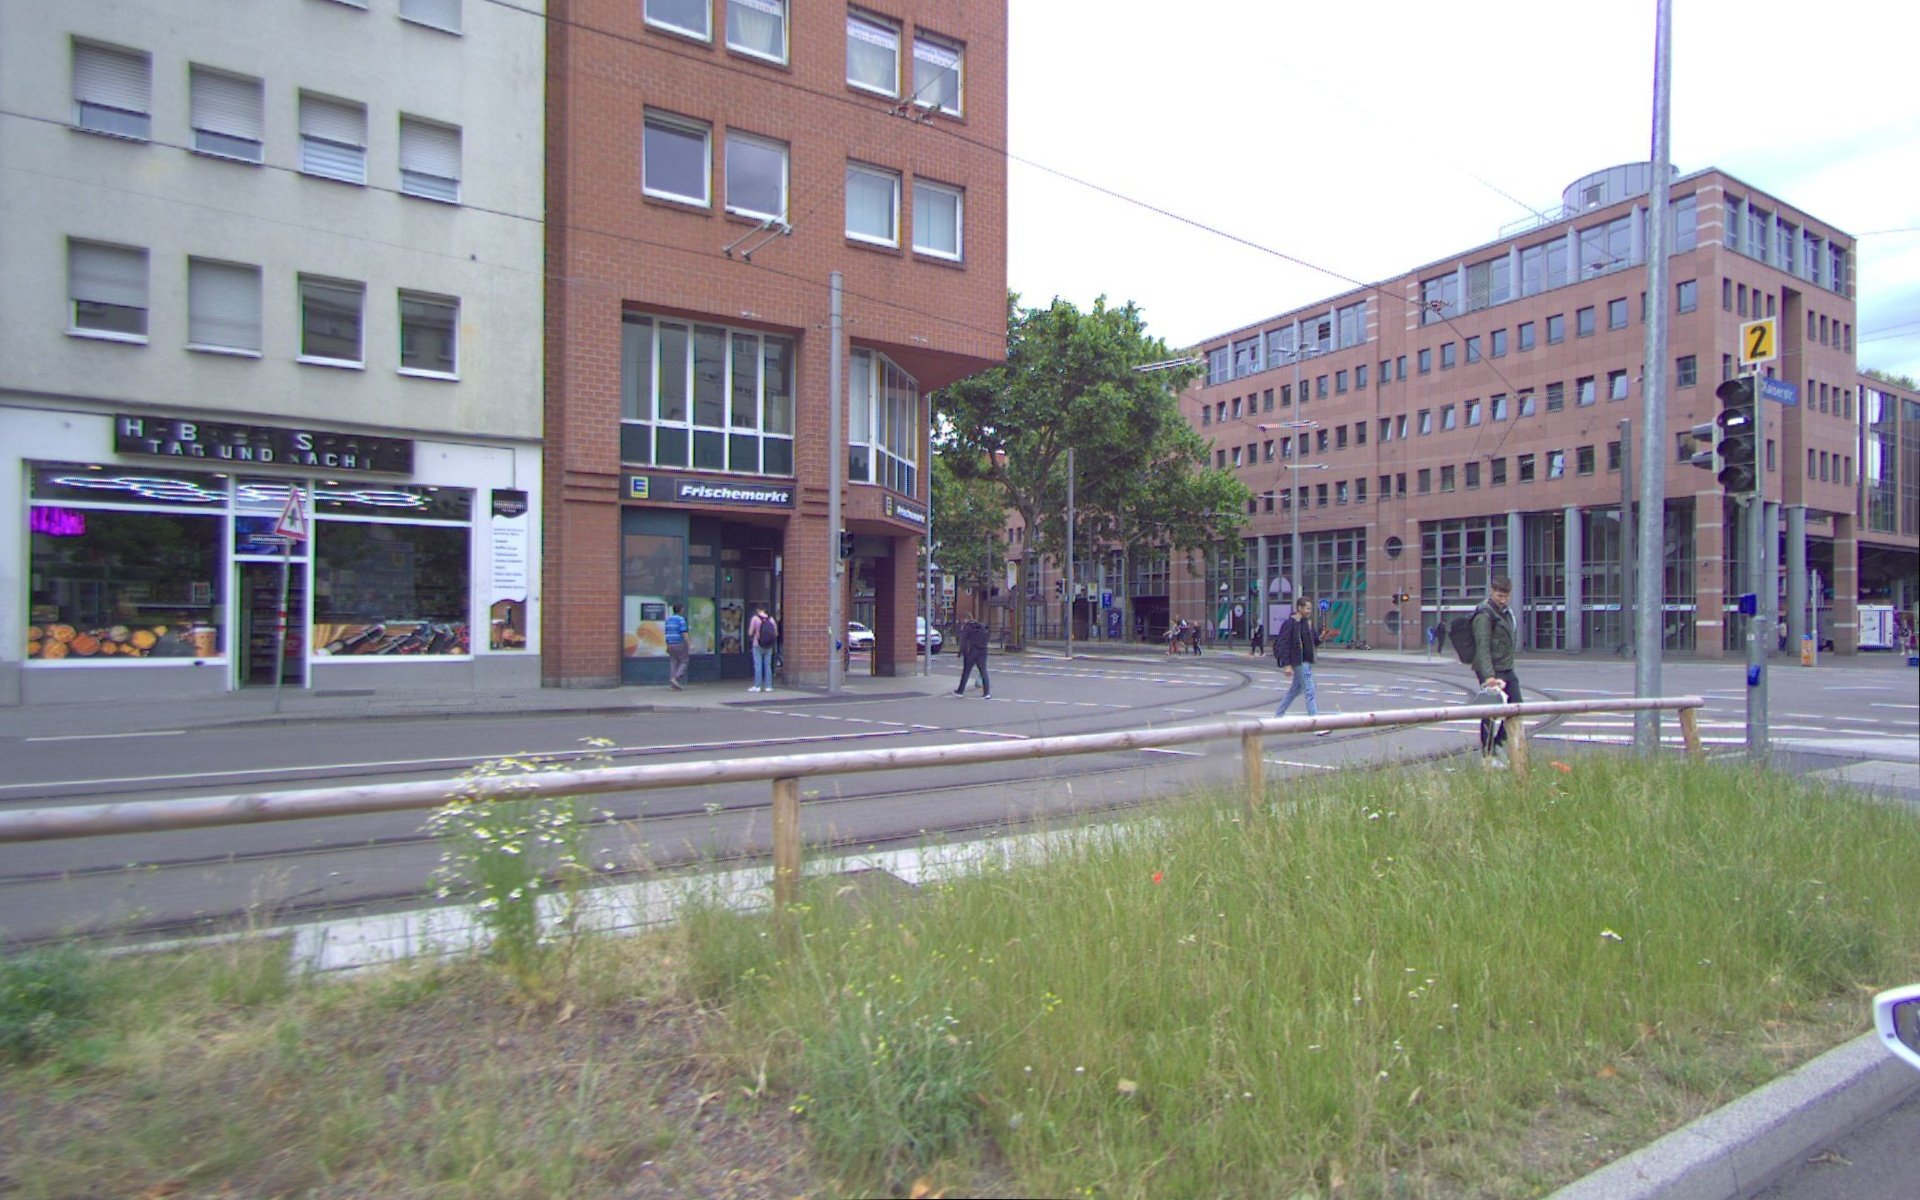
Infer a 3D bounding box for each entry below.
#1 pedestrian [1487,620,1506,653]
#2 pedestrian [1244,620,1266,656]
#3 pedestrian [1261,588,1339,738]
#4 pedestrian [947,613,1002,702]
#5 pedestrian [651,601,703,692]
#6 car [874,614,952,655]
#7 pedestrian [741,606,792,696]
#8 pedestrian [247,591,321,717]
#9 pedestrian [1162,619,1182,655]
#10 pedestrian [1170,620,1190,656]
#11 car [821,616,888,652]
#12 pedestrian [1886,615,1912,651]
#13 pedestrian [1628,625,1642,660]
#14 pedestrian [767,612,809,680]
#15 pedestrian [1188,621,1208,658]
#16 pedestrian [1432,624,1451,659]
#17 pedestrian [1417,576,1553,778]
[{"bbox_3d":[25.921,1.767,48.533,0.731,1.581,0.573,1,-1,34],"label":"pedestrian"},{"bbox_3d":[13.456,1.729,45.755,0.734,1.581,0.571,2,-1,-25],"label":"pedestrian"},{"bbox_3d":[4.520,0.820,13.341,0.790,1.914,0.607,2,-1,-33],"label":"pedestrian"},{"bbox_3d":[0.292,1.139,20.142,0.791,1.706,0.739,2,0,-35],"label":"pedestrian"},{"bbox_3d":[-5.427,0.888,19.248,0.717,1.709,0.654,3,-2,-39],"label":"pedestrian"},{"bbox_3d":[-2.275,1.613,47.720,1.909,1.817,3.961,1,-1,-35],"label":"car"},{"bbox_3d":[-3.795,0.995,19.691,0.791,1.706,0.565,2,0,-35],"label":"pedestrian"},{"bbox_3d":[-9.542,0.752,14.180,0.717,1.709,0.654,3,-2,-43],"label":"pedestrian"},{"bbox_3d":[9.615,1.678,45.615,0.624,1.633,0.568,2,-1,-38],"label":"pedestrian"},{"bbox_3d":[10.148,1.758,46.295,0.624,1.633,0.568,2,-1,-38],"label":"pedestrian"},{"bbox_3d":[-5.638,1.776,53.264,1.909,1.817,3.961,1,-1,-35],"label":"car"},{"bbox_3d":[48.969,1.725,52.373,0.722,1.866,0.700,1,0,-16],"label":"pedestrian"},{"bbox_3d":[30.247,1.910,44.997,0.444,1.552,0.519,1,0,42],"label":"pedestrian"},{"bbox_3d":[-4.467,1.178,26.059,0.791,1.706,0.739,2,0,-35],"label":"pedestrian"},{"bbox_3d":[10.497,1.752,44.347,0.624,1.595,0.568,2,-1,-38],"label":"pedestrian"},{"bbox_3d":[23.668,2.028,49.408,0.731,1.710,0.573,1,-1,34],"label":"pedestrian"},{"bbox_3d":[5.269,0.739,10.100,0.790,1.915,0.891,2,0,-32],"label":"pedestrian"}]
